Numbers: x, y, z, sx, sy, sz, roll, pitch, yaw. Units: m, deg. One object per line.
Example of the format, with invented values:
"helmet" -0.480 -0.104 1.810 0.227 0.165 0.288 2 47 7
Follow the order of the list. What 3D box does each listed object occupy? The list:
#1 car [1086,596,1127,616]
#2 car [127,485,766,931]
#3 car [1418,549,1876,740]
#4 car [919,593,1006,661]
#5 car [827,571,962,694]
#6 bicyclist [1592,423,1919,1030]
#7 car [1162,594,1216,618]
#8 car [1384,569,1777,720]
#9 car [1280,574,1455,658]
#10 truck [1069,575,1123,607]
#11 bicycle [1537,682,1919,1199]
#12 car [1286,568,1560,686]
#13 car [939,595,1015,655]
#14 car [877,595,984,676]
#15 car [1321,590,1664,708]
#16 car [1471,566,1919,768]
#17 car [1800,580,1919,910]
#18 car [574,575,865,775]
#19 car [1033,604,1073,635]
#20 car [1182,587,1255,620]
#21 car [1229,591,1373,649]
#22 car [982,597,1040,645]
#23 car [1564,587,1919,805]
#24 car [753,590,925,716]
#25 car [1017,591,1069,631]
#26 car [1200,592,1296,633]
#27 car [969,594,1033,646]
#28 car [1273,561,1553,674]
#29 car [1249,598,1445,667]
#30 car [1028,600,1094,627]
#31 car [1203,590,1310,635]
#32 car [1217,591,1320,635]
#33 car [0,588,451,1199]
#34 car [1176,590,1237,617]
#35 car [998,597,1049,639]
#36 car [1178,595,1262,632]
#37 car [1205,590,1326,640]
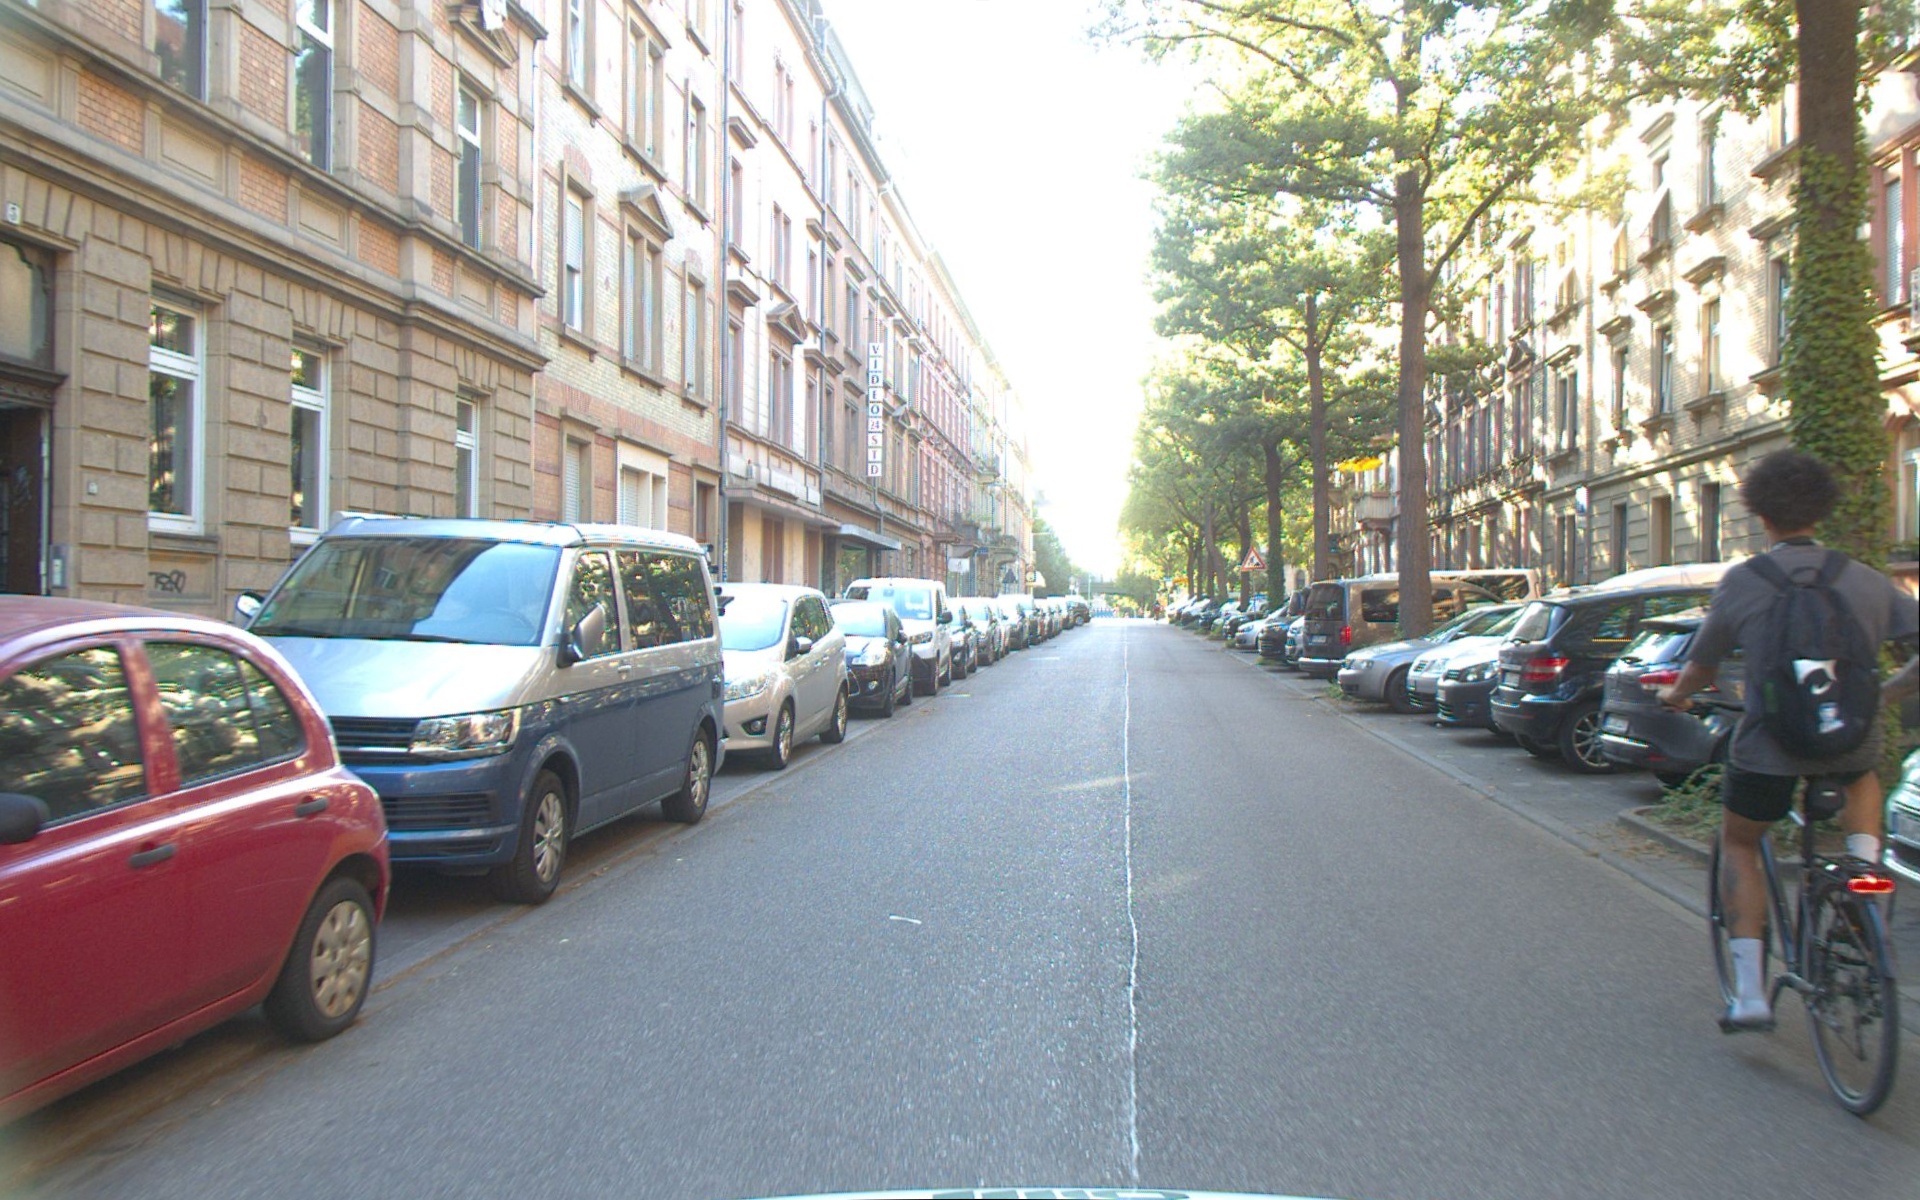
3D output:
"car" 14.702 0.628 165.781 3.902 1.891 1.752 1 0 14
"car" -2.677 0.484 10.200 1.793 1.977 5.263 2 0 6
"car" 7.219 0.462 17.747 4.132 1.808 1.836 -2 0 4
"car" 0.110 0.599 38.717 1.721 1.498 4.061 0 0 4
"car" -1.008 0.500 27.612 1.721 1.874 4.532 0 0 4
"bicyclist" 2.812 0.377 5.575 0.975 1.821 1.208 0 0 5
"car" 16.510 0.423 119.440 3.769 1.601 1.719 -2 0 5
"car" 7.563 0.526 20.432 4.136 1.639 1.834 -2 0 -2
"car" 9.747 0.377 39.748 3.770 1.828 1.718 -2 0 2
"truck" 18.601 -1.222 225.753 7.149 4.019 2.412 2 0 -31
"bicycle" 2.821 0.946 5.563 0.975 1.178 2.925 0 0 5
"car" 7.931 0.440 28.455 4.149 1.826 1.828 -2 0 -14
"car" 0.498 0.629 43.574 1.721 1.498 4.061 0 0 4
"car" -0.521 0.650 32.643 1.721 1.498 4.061 0 0 4
"car" 7.256 0.646 22.851 4.134 1.428 1.835 -2 0 1
"car" 6.865 0.586 15.037 3.925 1.635 1.735 -2 -1 5
"car" 6.144 0.591 7.611 3.584 1.480 1.850 -3 1 -1
"car" -2.177 0.629 16.233 1.716 1.636 4.387 2 0 7
"car" 4.917 1.036 87.043 1.951 1.512 4.002 0 -2 5
"car" 13.928 0.191 89.219 3.769 1.601 1.719 -2 0 5
"car" 9.727 0.556 47.311 3.770 1.505 1.718 -2 0 2
"car" 1.701 0.656 54.534 1.721 1.498 4.061 0 0 4
"car" 6.848 0.664 12.518 3.925 1.493 1.735 -2 -1 5
"car" -1.550 0.649 22.542 1.721 1.493 4.002 2 0 4
"car" 3.395 0.456 66.954 1.951 1.512 4.002 0 -2 5
"car" 12.448 0.524 71.521 3.773 1.601 1.717 -2 0 -2
"car" 1.264 0.585 49.786 1.721 1.498 4.061 0 0 4
"car" 8.706 0.335 32.136 4.950 1.959 1.836 -2 0 6
"car" 8.145 0.674 35.067 3.770 1.316 1.718 -2 0 2
"car" 5.958 0.811 97.334 1.961 1.512 3.982 -2 -2 38
"car" 11.541 0.477 64.522 3.773 1.601 1.717 -2 0 -2
"car" 12.444 0.512 66.850 3.773 1.601 1.717 -2 0 -2
"car" -3.013 0.730 4.667 1.559 1.501 3.702 2 0 8
"car" 15.861 0.199 106.435 3.769 1.601 1.719 -2 0 5
"car" 2.362 0.642 60.997 1.721 1.498 4.061 0 0 4
"car" 12.093 0.613 77.070 3.768 1.601 1.719 -2 0 6
"car" 10.542 0.509 57.244 3.773 1.601 1.717 -2 0 -2
